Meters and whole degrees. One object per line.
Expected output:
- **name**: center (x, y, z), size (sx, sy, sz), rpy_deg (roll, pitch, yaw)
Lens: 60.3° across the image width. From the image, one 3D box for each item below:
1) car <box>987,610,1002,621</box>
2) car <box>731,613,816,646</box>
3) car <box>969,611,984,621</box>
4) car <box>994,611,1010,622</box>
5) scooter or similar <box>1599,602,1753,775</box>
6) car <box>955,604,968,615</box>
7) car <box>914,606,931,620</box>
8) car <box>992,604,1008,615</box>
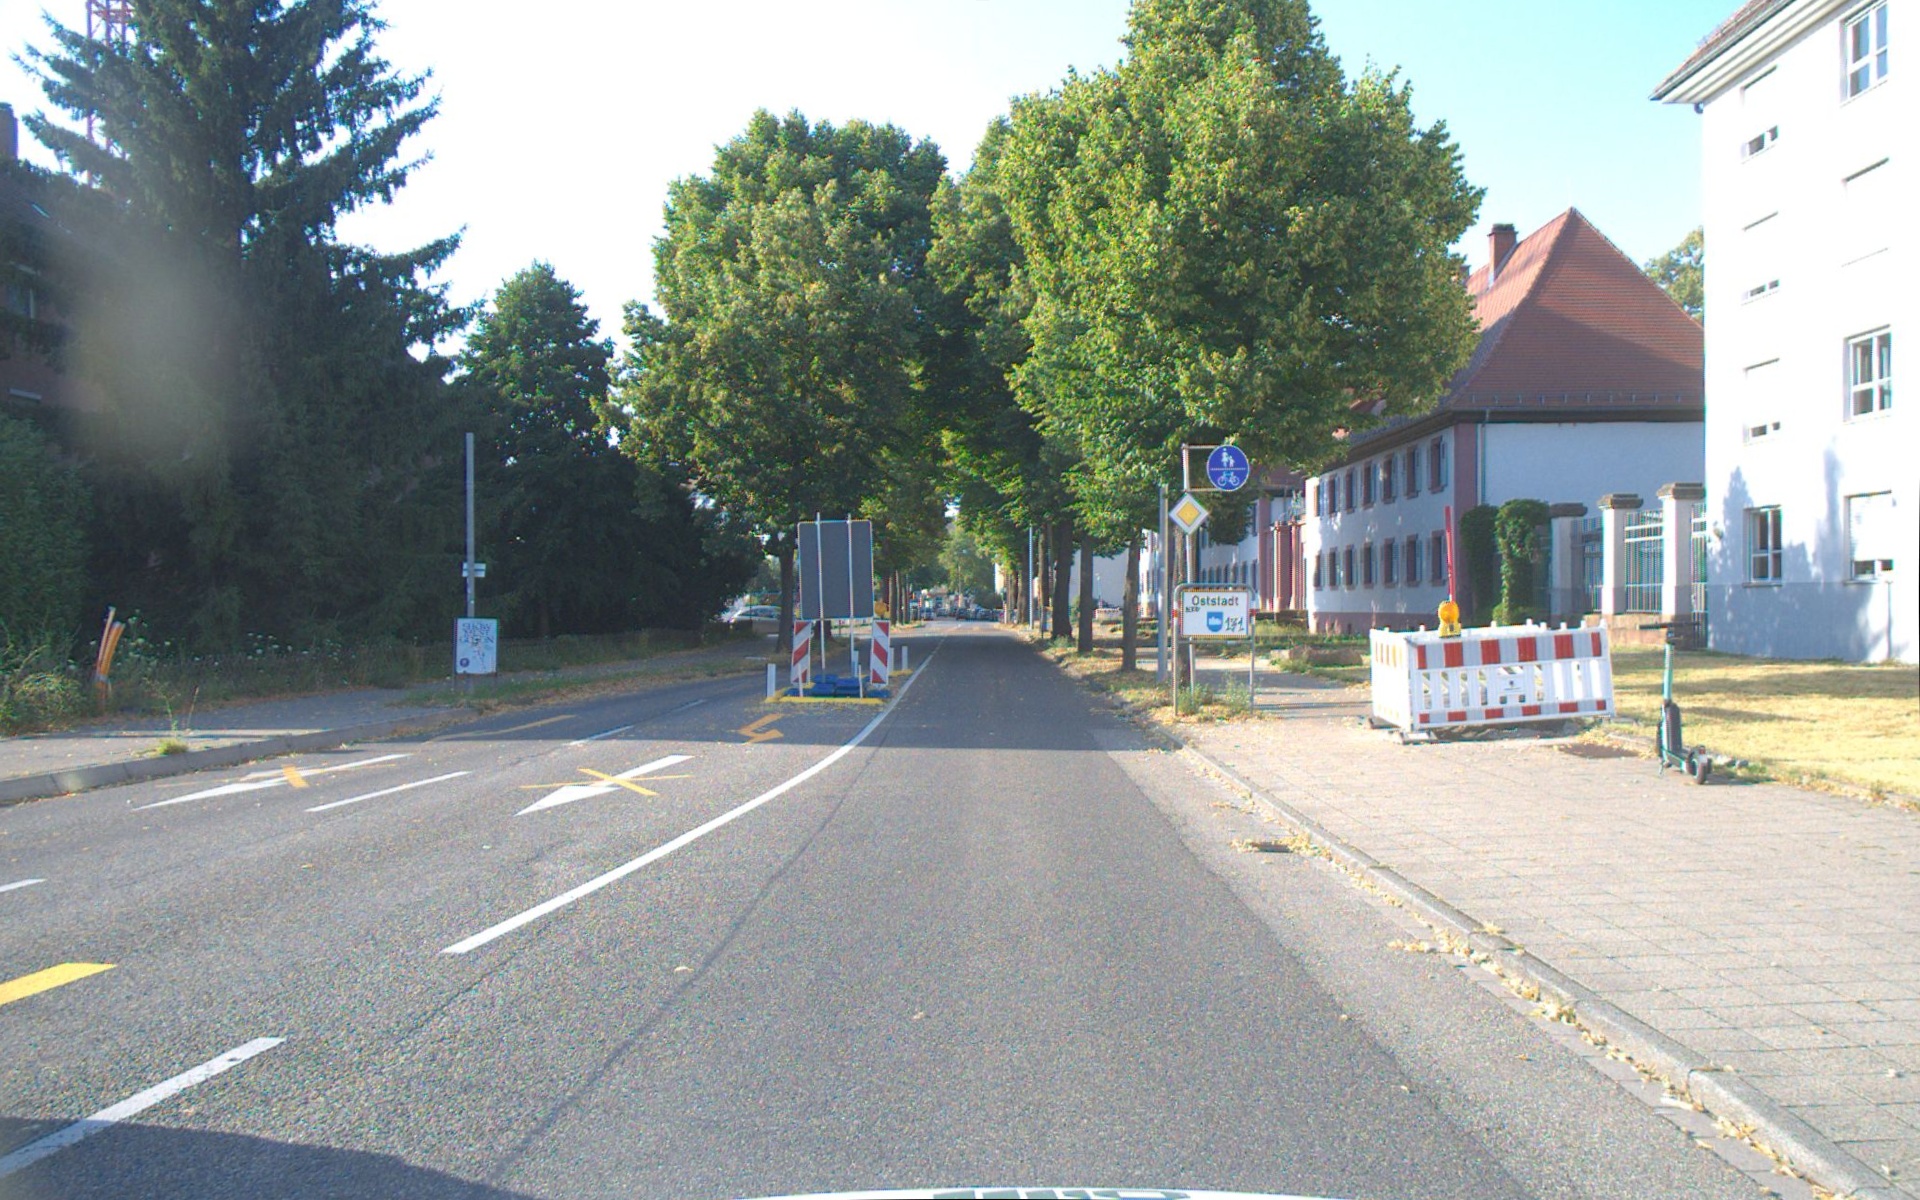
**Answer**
- **car**: center (4.450, 2.001, 213.017), size (1.803, 1.283, 4.000), rpy_deg (-1, -1, 0)
- **car**: center (-8.767, 1.371, 77.877), size (3.764, 1.499, 1.651), rpy_deg (0, 0, 2)
- **car**: center (2.413, 2.311, 242.048), size (1.804, 1.410, 3.997), rpy_deg (-1, -1, -3)
- **car**: center (4.967, 1.981, 196.026), size (1.803, 1.283, 4.000), rpy_deg (-1, -1, 0)
- **scooter or similar**: center (5.878, 0.693, 13.652), size (0.547, 1.314, 1.463), rpy_deg (-4, 0, 0)
- **car**: center (0.176, 1.414, 236.203), size (1.680, 1.512, 3.997), rpy_deg (-2, -1, -3)
- **car**: center (-4.980, 1.730, 218.179), size (1.955, 1.717, 3.995), rpy_deg (-1, -1, -5)
- **car**: center (4.970, 1.141, 206.058), size (1.802, 1.283, 4.002), rpy_deg (-1, 0, 4)
